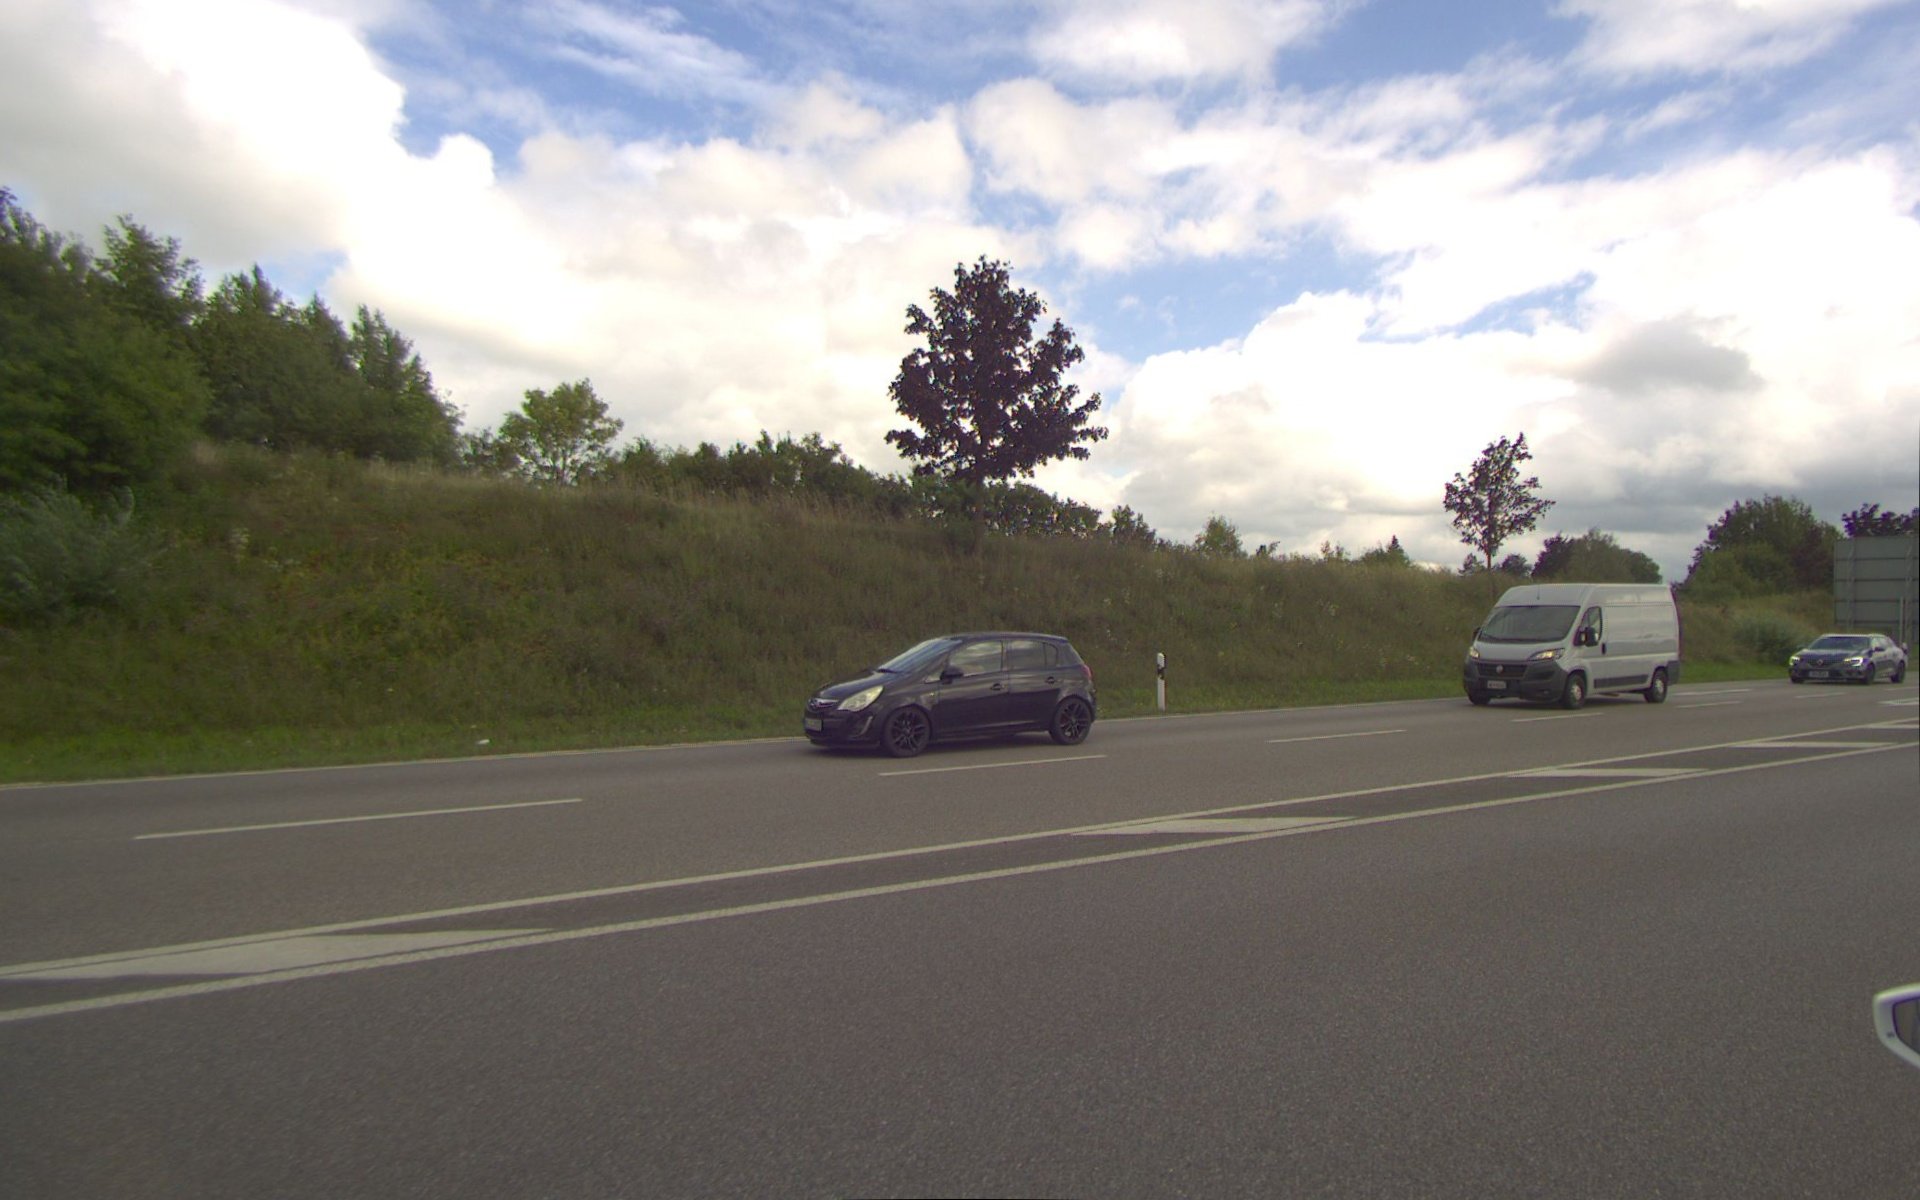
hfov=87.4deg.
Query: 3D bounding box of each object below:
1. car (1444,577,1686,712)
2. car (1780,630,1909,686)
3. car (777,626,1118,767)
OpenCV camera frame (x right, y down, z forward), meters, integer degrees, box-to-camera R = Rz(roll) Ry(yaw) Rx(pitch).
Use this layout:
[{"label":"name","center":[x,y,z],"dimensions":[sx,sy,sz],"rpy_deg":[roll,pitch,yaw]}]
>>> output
[{"label":"car","center":[12.571,0.872,20.735],"dimensions":[5.574,2.472,2.022],"rpy_deg":[1,-2,-33]},{"label":"car","center":[26.302,1.664,29.843],"dimensions":[4.499,1.550,1.723],"rpy_deg":[1,-2,-33]},{"label":"car","center":[-0.091,1.110,12.954],"dimensions":[4.148,1.550,1.723],"rpy_deg":[1,-2,-33]}]
